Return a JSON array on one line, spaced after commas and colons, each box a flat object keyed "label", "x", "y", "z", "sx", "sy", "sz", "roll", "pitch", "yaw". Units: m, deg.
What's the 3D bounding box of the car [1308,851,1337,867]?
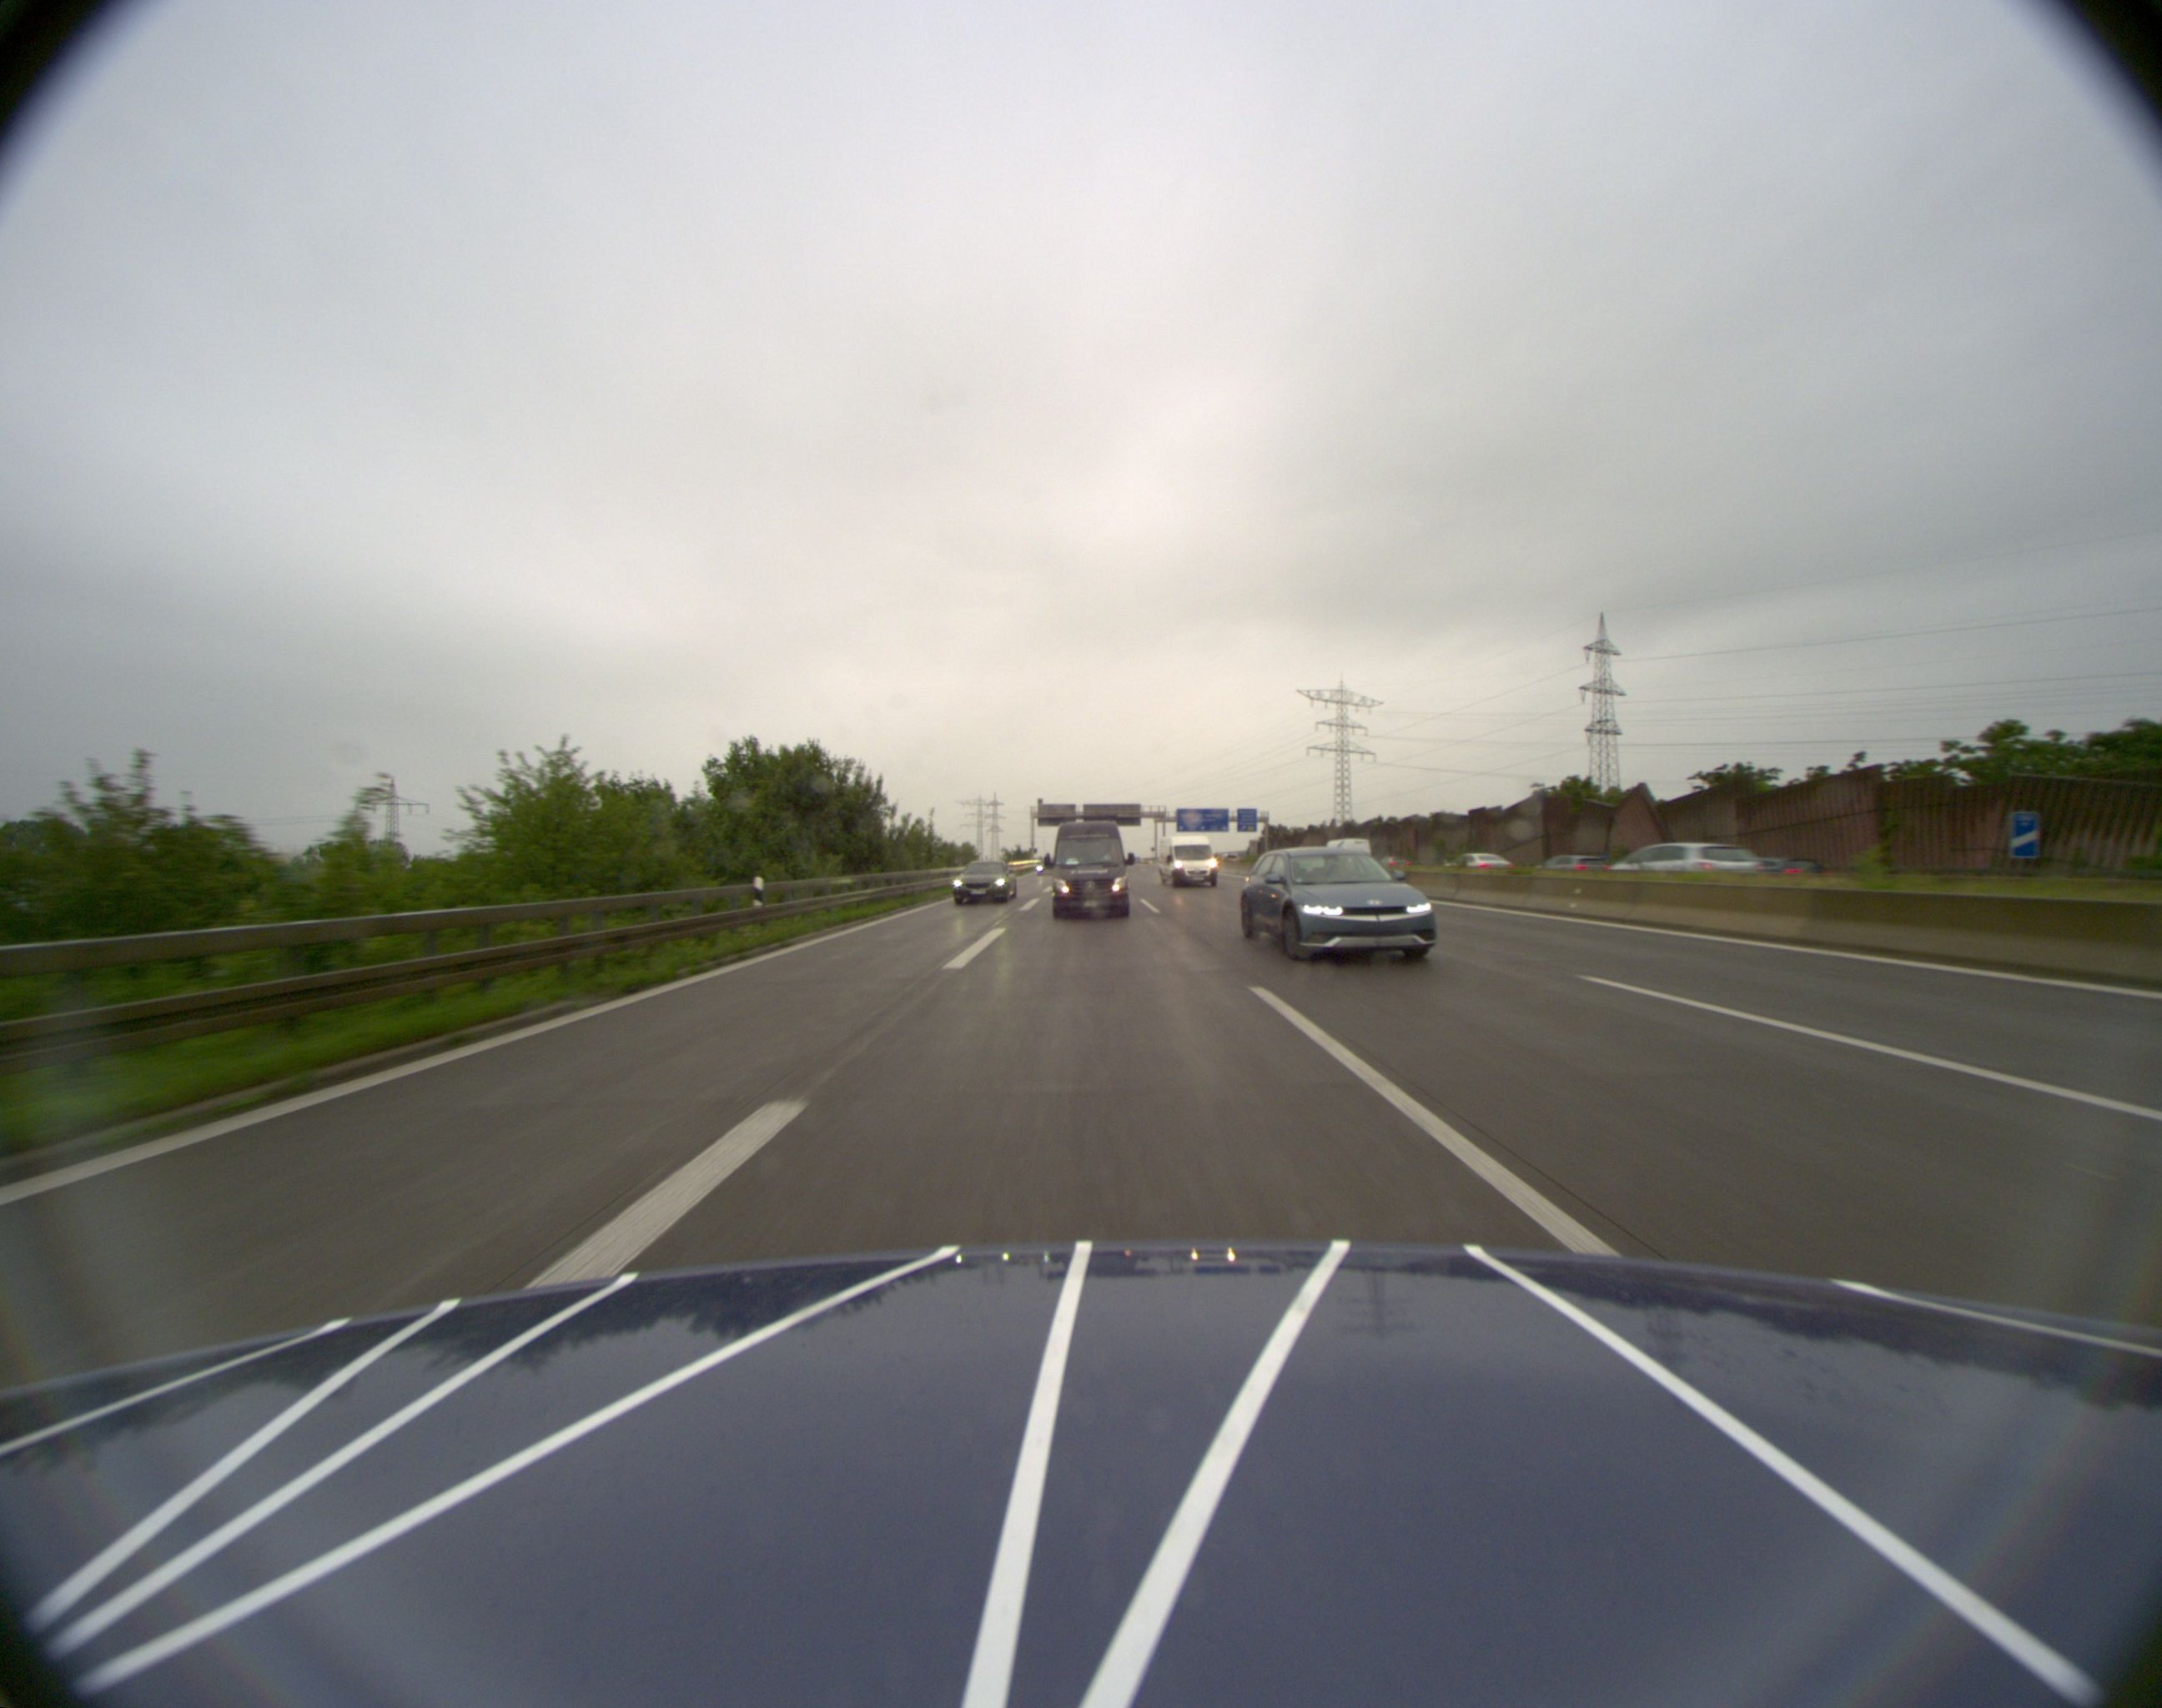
[{"label": "car", "x": 28.214, "y": 0.567, "z": 89.002, "sx": 1.998, "sy": 1.774, "sz": 4.290, "roll": -2, "pitch": 0, "yaw": 0}]

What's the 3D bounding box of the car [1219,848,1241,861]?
[{"label": "car", "x": 20.978, "y": 0.076, "z": 107.339, "sx": 1.998, "sy": 1.774, "sz": 5.209, "roll": -2, "pitch": 0, "yaw": 0}]

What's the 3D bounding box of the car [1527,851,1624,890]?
[{"label": "car", "x": 23.979, "y": 0.762, "z": 37.041, "sx": 1.998, "sy": 1.729, "sz": 4.264, "roll": -2, "pitch": 0, "yaw": 1}]

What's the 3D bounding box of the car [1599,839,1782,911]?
[{"label": "car", "x": 16.418, "y": 0.514, "z": 20.766, "sx": 1.858, "sy": 1.729, "sz": 4.000, "roll": -2, "pitch": 0, "yaw": 1}]

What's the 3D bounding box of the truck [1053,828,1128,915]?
[{"label": "truck", "x": 0.196, "y": 0.455, "z": 23.693, "sx": 1.999, "sy": 2.324, "sz": 6.109, "roll": -1, "pitch": 0, "yaw": -1}]

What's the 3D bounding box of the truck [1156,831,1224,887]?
[{"label": "truck", "x": 5.327, "y": 0.217, "z": 38.007, "sx": 2.243, "sy": 2.464, "sz": 6.582, "roll": -2, "pitch": 0, "yaw": -1}]

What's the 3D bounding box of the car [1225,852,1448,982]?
[{"label": "car", "x": 3.754, "y": 0.797, "z": 12.273, "sx": 1.843, "sy": 1.585, "sz": 5.155, "roll": -2, "pitch": 0, "yaw": 0}]

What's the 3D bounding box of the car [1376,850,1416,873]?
[{"label": "car", "x": 28.323, "y": 0.665, "z": 68.502, "sx": 1.998, "sy": 2.002, "sz": 4.000, "roll": -1, "pitch": 0, "yaw": 1}]

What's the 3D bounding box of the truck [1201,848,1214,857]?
[{"label": "truck", "x": 25.197, "y": -0.259, "z": 151.431, "sx": 1.998, "sy": 1.729, "sz": 5.016, "roll": -1, "pitch": 0, "yaw": 1}]

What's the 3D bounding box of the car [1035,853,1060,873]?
[{"label": "car", "x": -2.875, "y": 0.780, "z": 66.080, "sx": 1.998, "sy": 1.706, "sz": 4.000, "roll": 1, "pitch": 0, "yaw": 0}]

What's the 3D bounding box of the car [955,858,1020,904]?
[{"label": "car", "x": -3.390, "y": 0.957, "z": 28.200, "sx": 1.862, "sy": 1.531, "sz": 4.203, "roll": -2, "pitch": -1, "yaw": -1}]

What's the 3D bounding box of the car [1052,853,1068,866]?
[{"label": "car", "x": -2.709, "y": 0.735, "z": 100.386, "sx": 1.998, "sy": 1.706, "sz": 4.000, "roll": 1, "pitch": 0, "yaw": 0}]

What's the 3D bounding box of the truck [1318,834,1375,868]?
[{"label": "truck", "x": 18.429, "y": -0.189, "z": 53.015, "sx": 2.150, "sy": 2.193, "sz": 5.419, "roll": -2, "pitch": 0, "yaw": 1}]

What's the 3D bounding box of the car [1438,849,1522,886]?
[{"label": "car", "x": 20.171, "y": 0.621, "z": 38.688, "sx": 1.998, "sy": 1.729, "sz": 4.466, "roll": -2, "pitch": 0, "yaw": 1}]
